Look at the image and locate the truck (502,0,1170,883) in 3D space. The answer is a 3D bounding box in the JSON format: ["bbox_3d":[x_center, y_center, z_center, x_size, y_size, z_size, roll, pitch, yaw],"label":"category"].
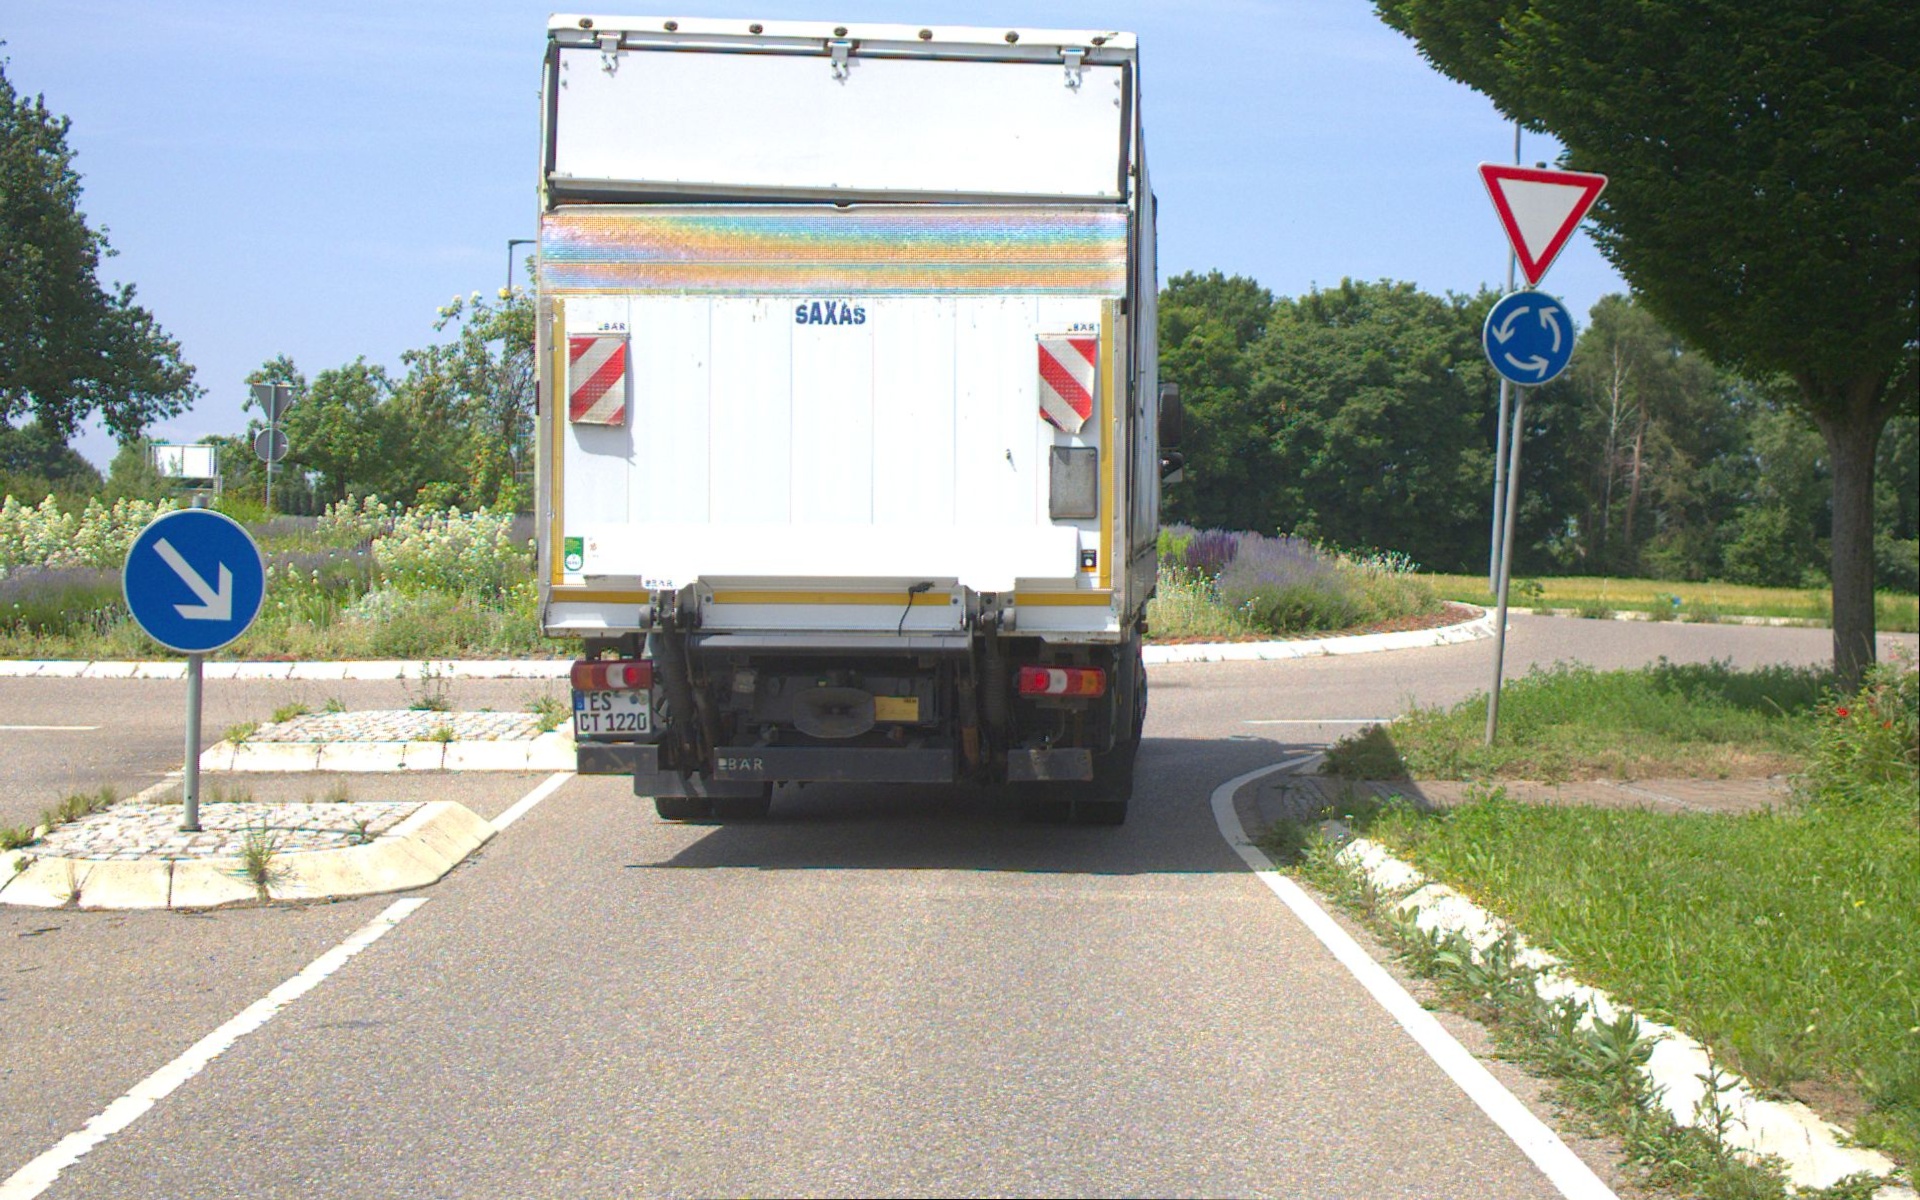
[{"bbox_3d":[-0.266,-0.796,18.961,2.767,3.658,9.382,0,2,3],"label":"truck"}]
